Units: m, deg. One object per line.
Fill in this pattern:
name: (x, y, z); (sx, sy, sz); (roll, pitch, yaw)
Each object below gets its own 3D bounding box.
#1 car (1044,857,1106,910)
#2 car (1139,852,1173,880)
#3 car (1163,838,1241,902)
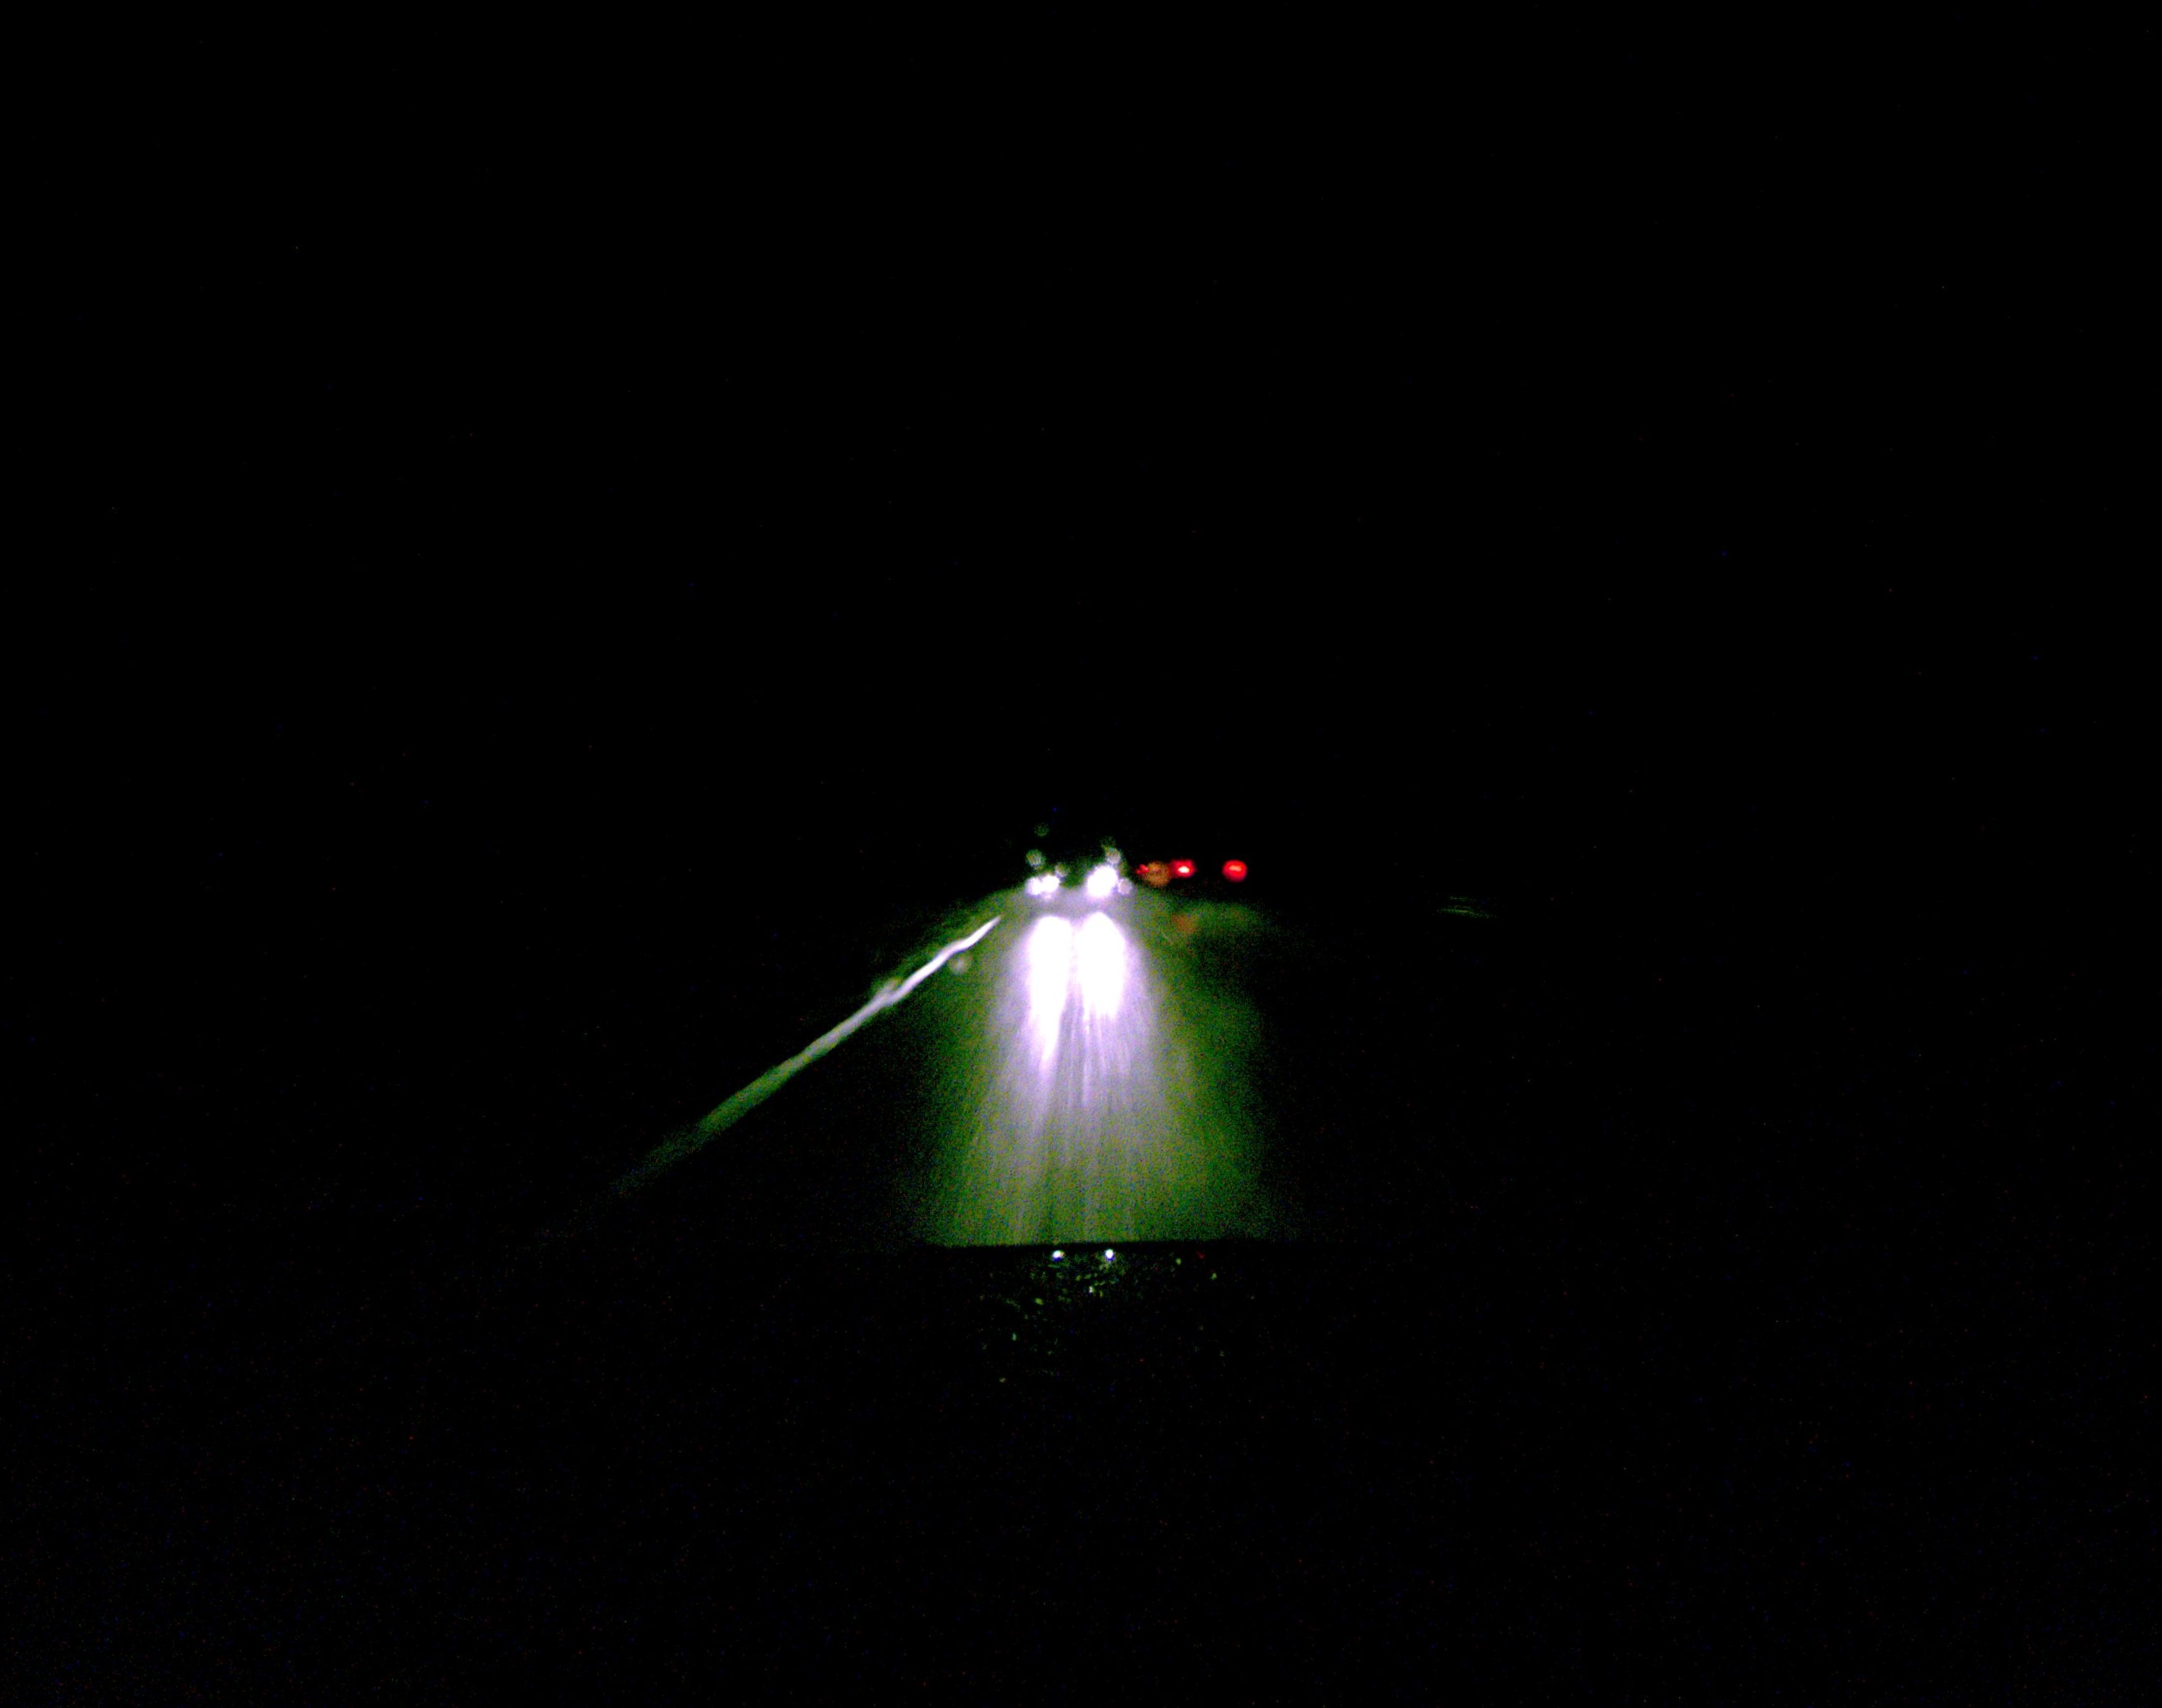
car: (-0.120, 0.878, 24.456); (1.744, 1.501, 3.601); (-3, 0, 3)
car: (4.404, 0.697, 44.998); (1.848, 1.496, 3.710); (-1, 1, 4)
car: (3.732, 0.517, 24.002); (1.841, 1.833, 4.001); (0, -1, 0)
